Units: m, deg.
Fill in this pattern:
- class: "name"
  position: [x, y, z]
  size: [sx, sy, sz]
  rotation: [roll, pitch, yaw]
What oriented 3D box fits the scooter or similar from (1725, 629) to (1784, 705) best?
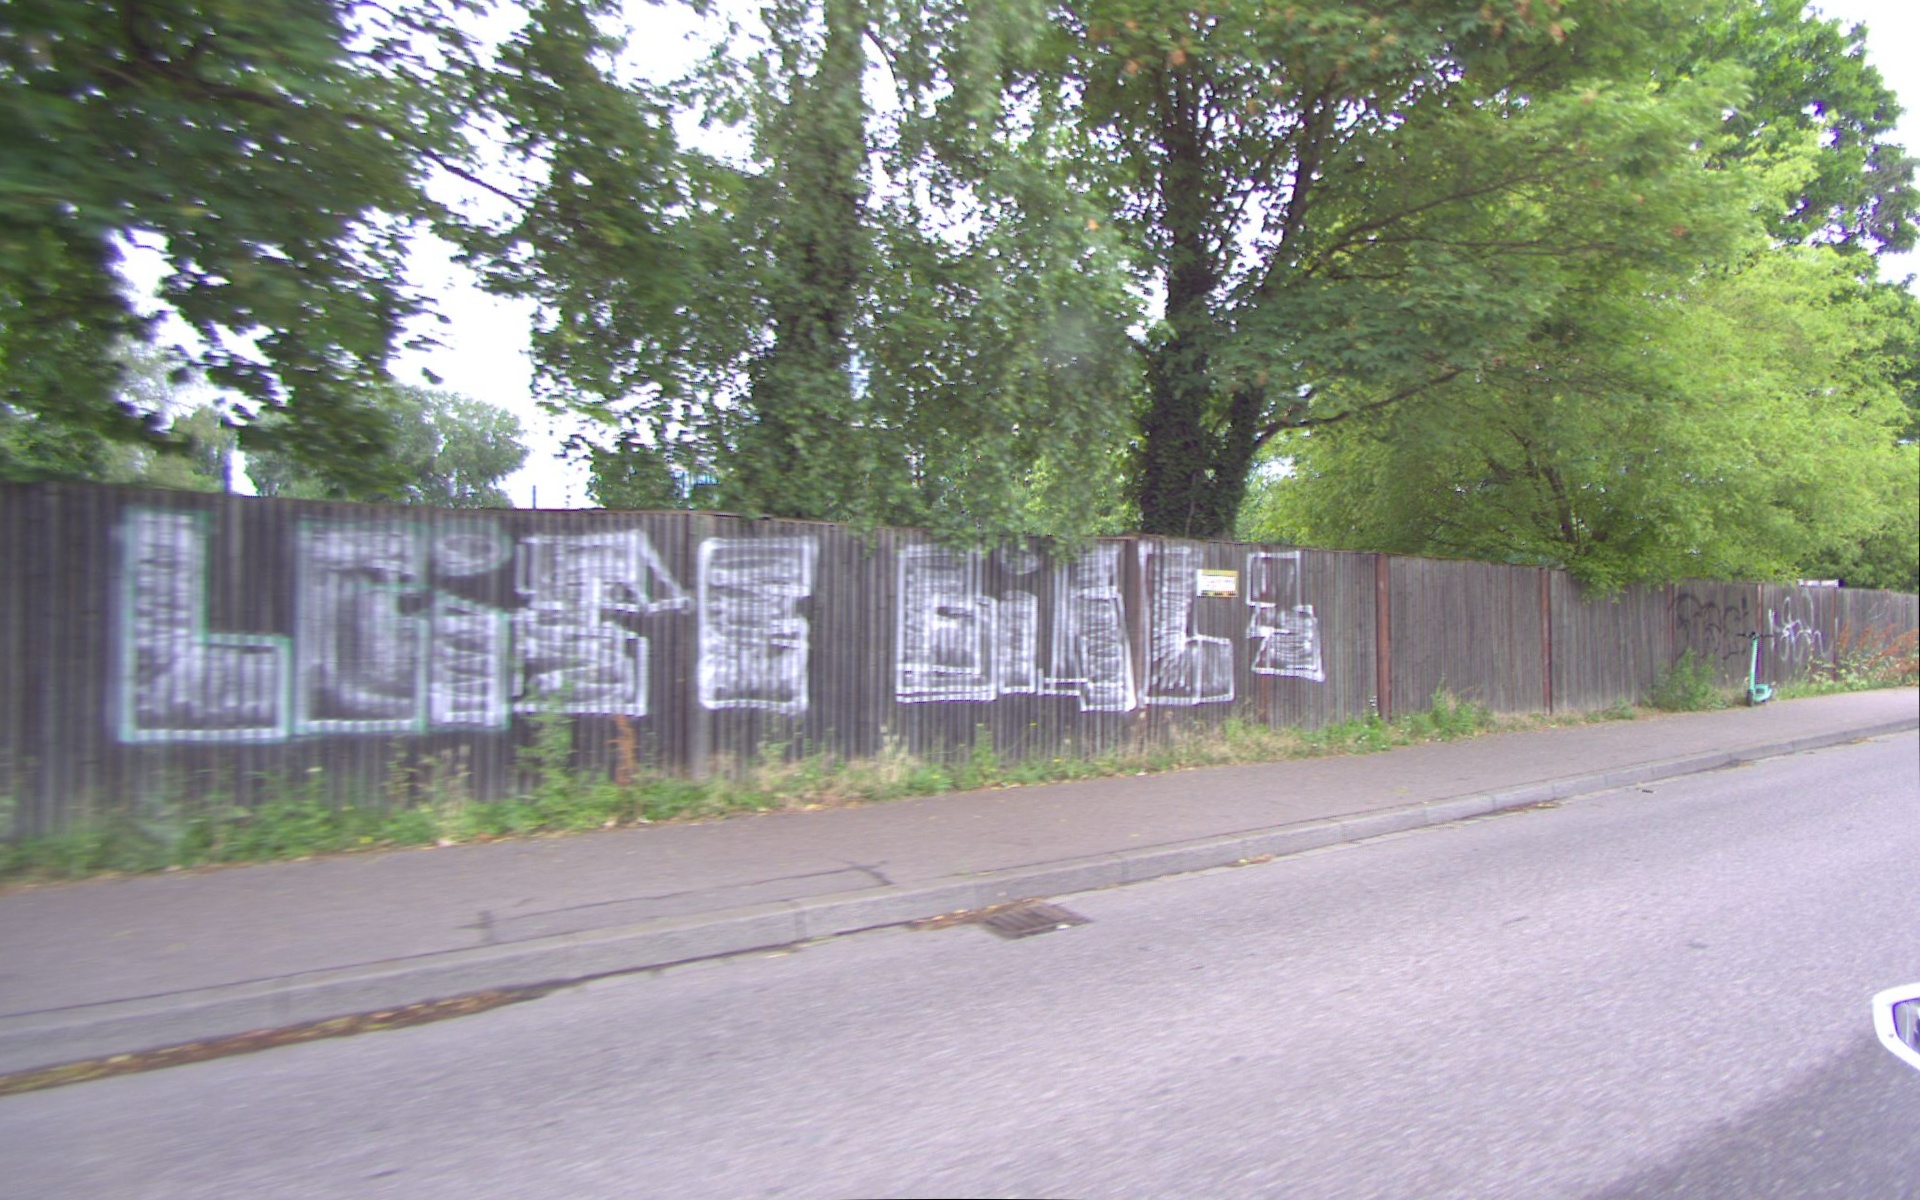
- class: "scooter or similar"
  position: [12.956, 1.078, 16.376]
  size: [1.290, 1.186, 0.420]
  rotation: [1, -1, -35]
